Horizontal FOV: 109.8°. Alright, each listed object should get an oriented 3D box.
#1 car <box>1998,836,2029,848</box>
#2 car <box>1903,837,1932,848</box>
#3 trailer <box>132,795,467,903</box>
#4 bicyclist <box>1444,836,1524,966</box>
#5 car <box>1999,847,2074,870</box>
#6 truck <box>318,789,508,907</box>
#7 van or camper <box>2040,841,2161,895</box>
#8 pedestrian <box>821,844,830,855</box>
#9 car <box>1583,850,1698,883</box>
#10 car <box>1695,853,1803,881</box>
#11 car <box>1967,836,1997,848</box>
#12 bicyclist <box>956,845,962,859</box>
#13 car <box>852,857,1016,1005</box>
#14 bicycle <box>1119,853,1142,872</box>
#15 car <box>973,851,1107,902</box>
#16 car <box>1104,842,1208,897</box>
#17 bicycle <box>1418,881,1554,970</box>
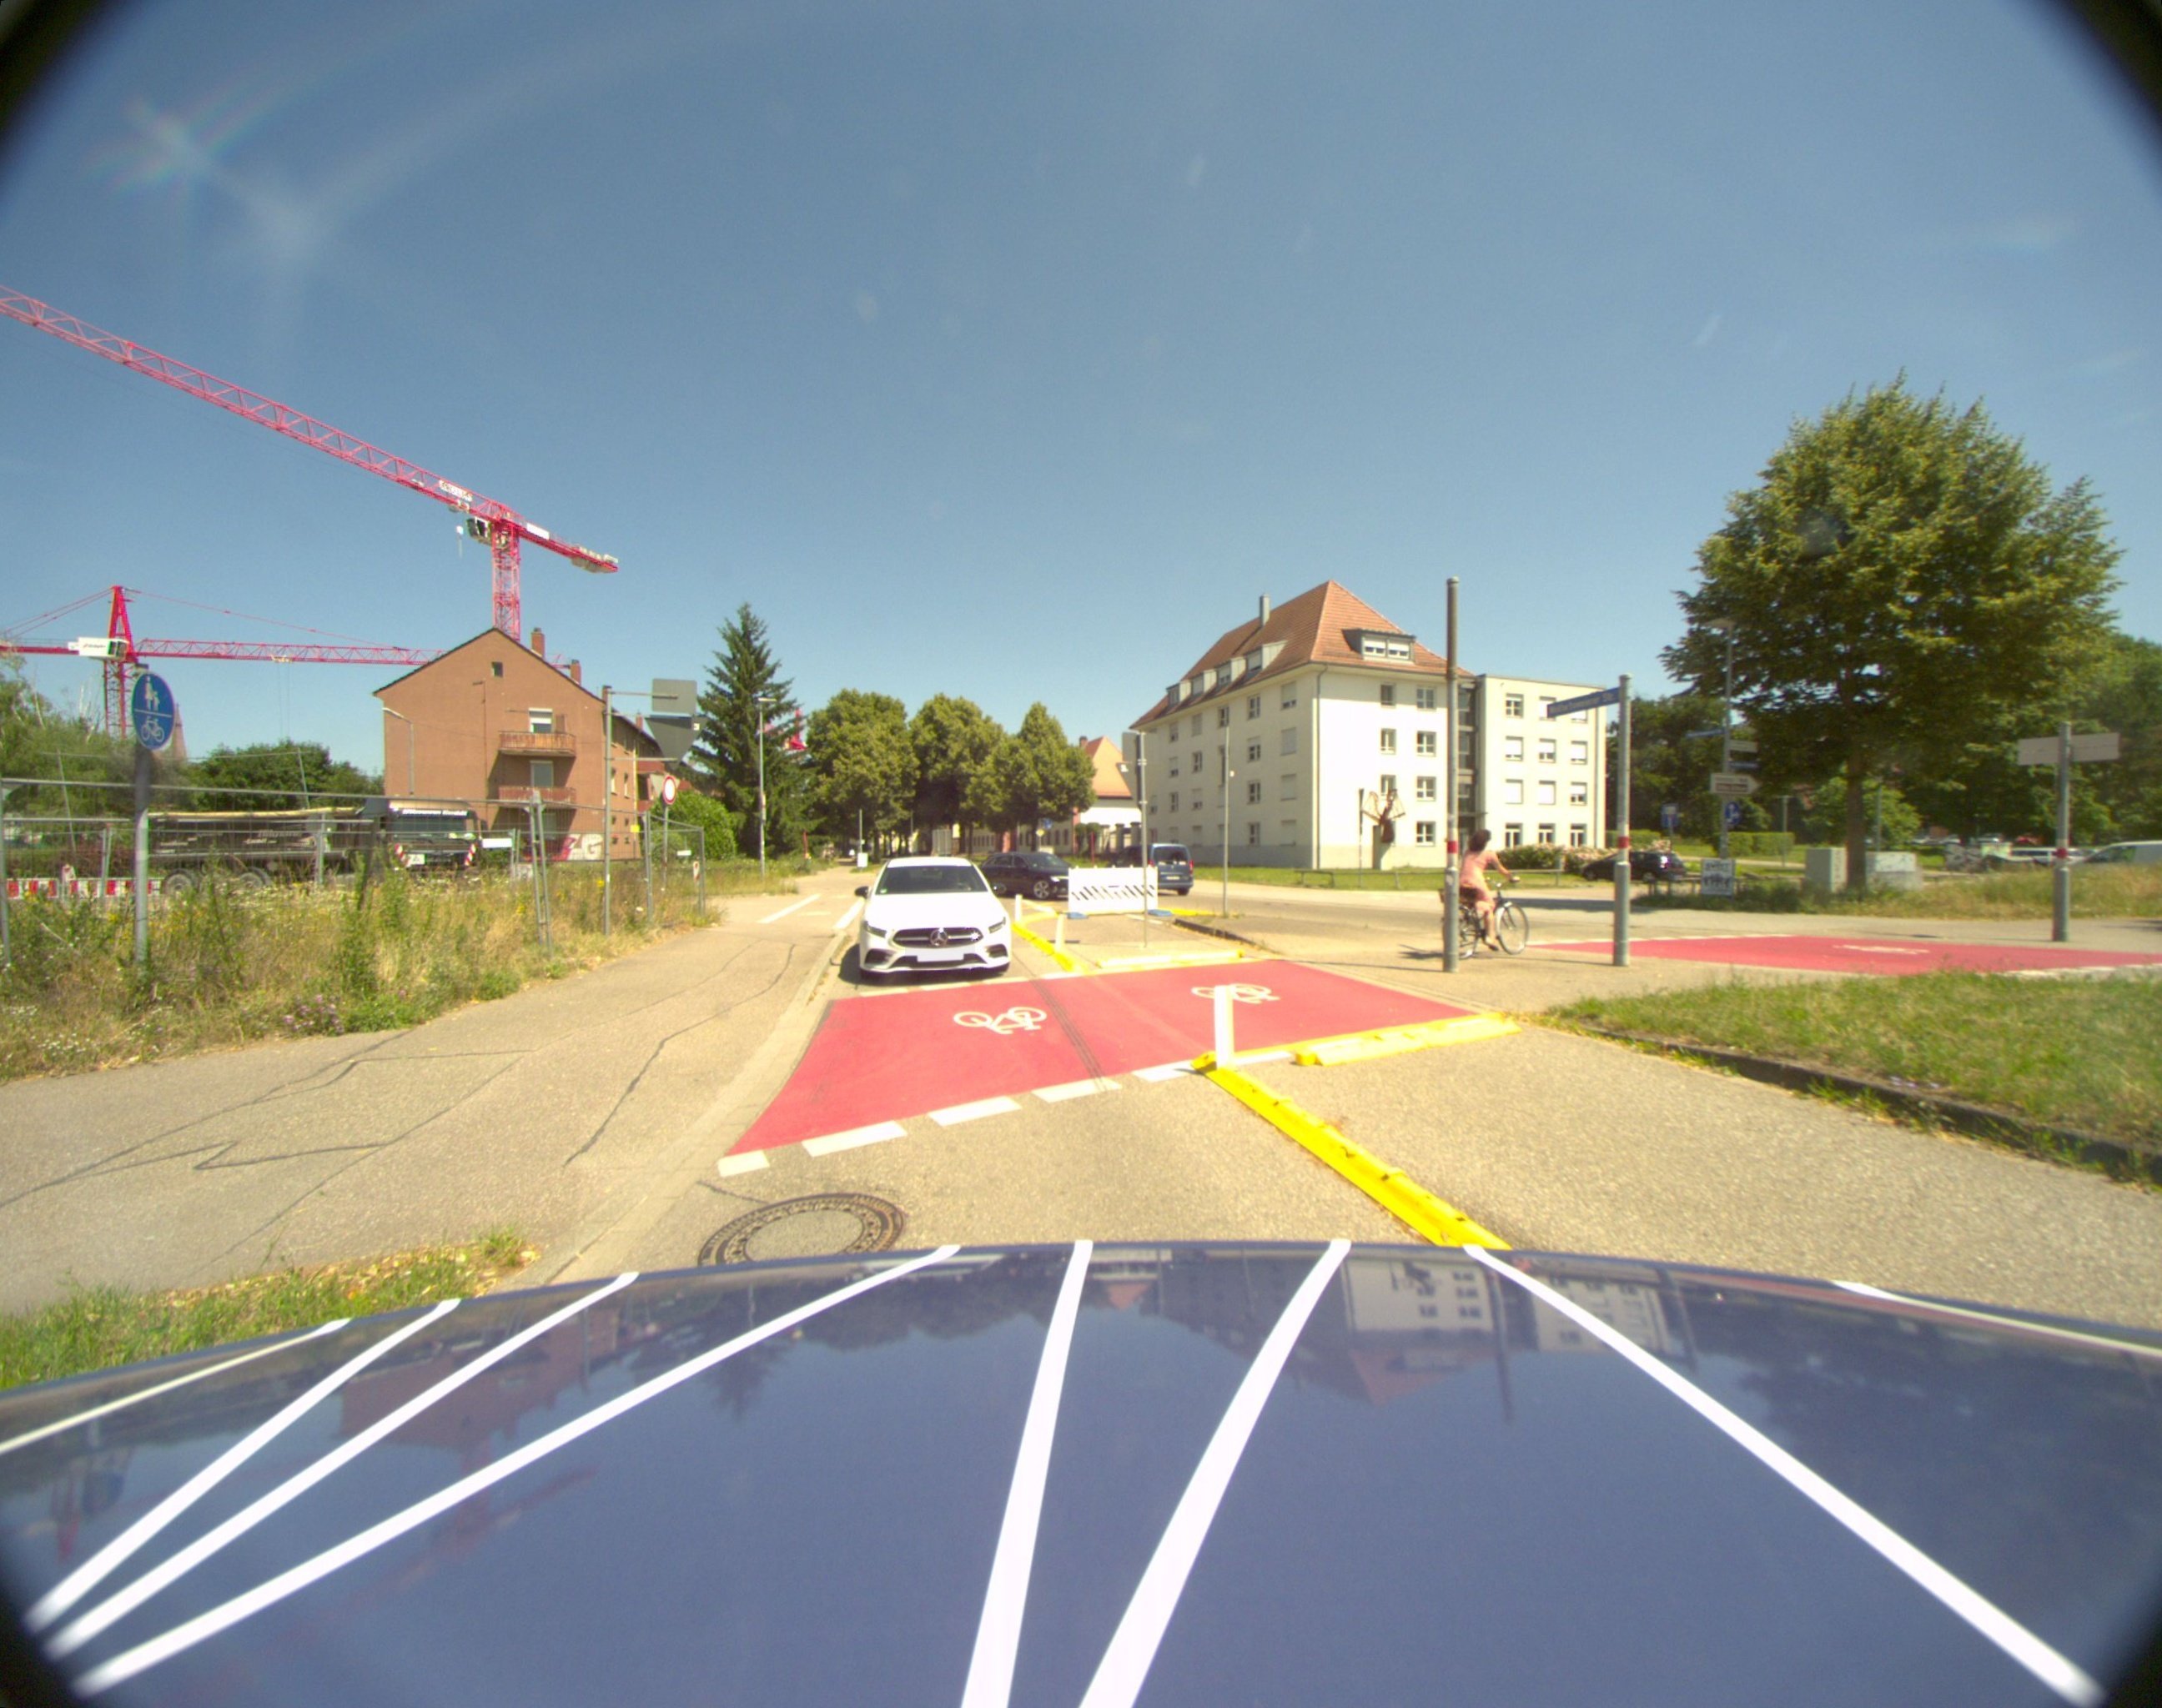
[{"bbox_3d":[105.988,-1.342,86.350,3.031,1.408,1.476,-1,1,-24],"label":"car"},{"bbox_3d":[102.652,-1.411,93.214,3.031,1.408,1.476,-1,1,-24],"label":"car"},{"bbox_3d":[-27.211,-0.147,26.722,8.982,3.512,3.165,0,1,5],"label":"trailer"},{"bbox_3d":[5.368,0.600,10.134,0.711,1.654,0.644,-1,1,-27],"label":"bicyclist"},{"bbox_3d":[56.678,0.255,45.103,1.084,1.350,2.526,-1,1,-13],"label":"car"},{"bbox_3d":[-22.171,-0.198,25.238,4.951,3.512,3.170,0,1,29],"label":"truck"},{"bbox_3d":[37.676,0.468,26.243,2.002,1.847,5.263,0,1,-20],"label":"van or camper"},{"bbox_3d":[-35.823,-0.597,106.497,1.025,1.509,0.681,-1,1,-13],"label":"pedestrian"},{"bbox_3d":[24.557,0.504,33.478,1.661,1.319,3.801,0,1,-19],"label":"car"},{"bbox_3d":[30.561,0.553,34.873,1.358,1.210,3.507,0,1,-19],"label":"car"},{"bbox_3d":[105.126,-1.364,88.659,3.031,1.408,1.476,-1,1,-24],"label":"car"},{"bbox_3d":[-14.397,-0.258,89.689,0.569,1.601,0.739,-1,1,-19],"label":"bicyclist"},{"bbox_3d":[-2.100,0.835,10.332,1.782,1.536,3.957,0,1,-15],"label":"car"},{"bbox_3d":[2.805,0.470,43.530,0.710,1.018,1.982,-3,2,-13],"label":"bicycle"},{"bbox_3d":[-1.392,0.651,23.958,1.805,1.443,4.605,-1,0,-40],"label":"car"},{"bbox_3d":[2.505,0.499,26.362,1.692,1.759,4.196,0,0,-25],"label":"car"},{"bbox_3d":[5.414,0.913,10.120,2.091,1.052,0.438,0,2,-27],"label":"bicycle"}]
